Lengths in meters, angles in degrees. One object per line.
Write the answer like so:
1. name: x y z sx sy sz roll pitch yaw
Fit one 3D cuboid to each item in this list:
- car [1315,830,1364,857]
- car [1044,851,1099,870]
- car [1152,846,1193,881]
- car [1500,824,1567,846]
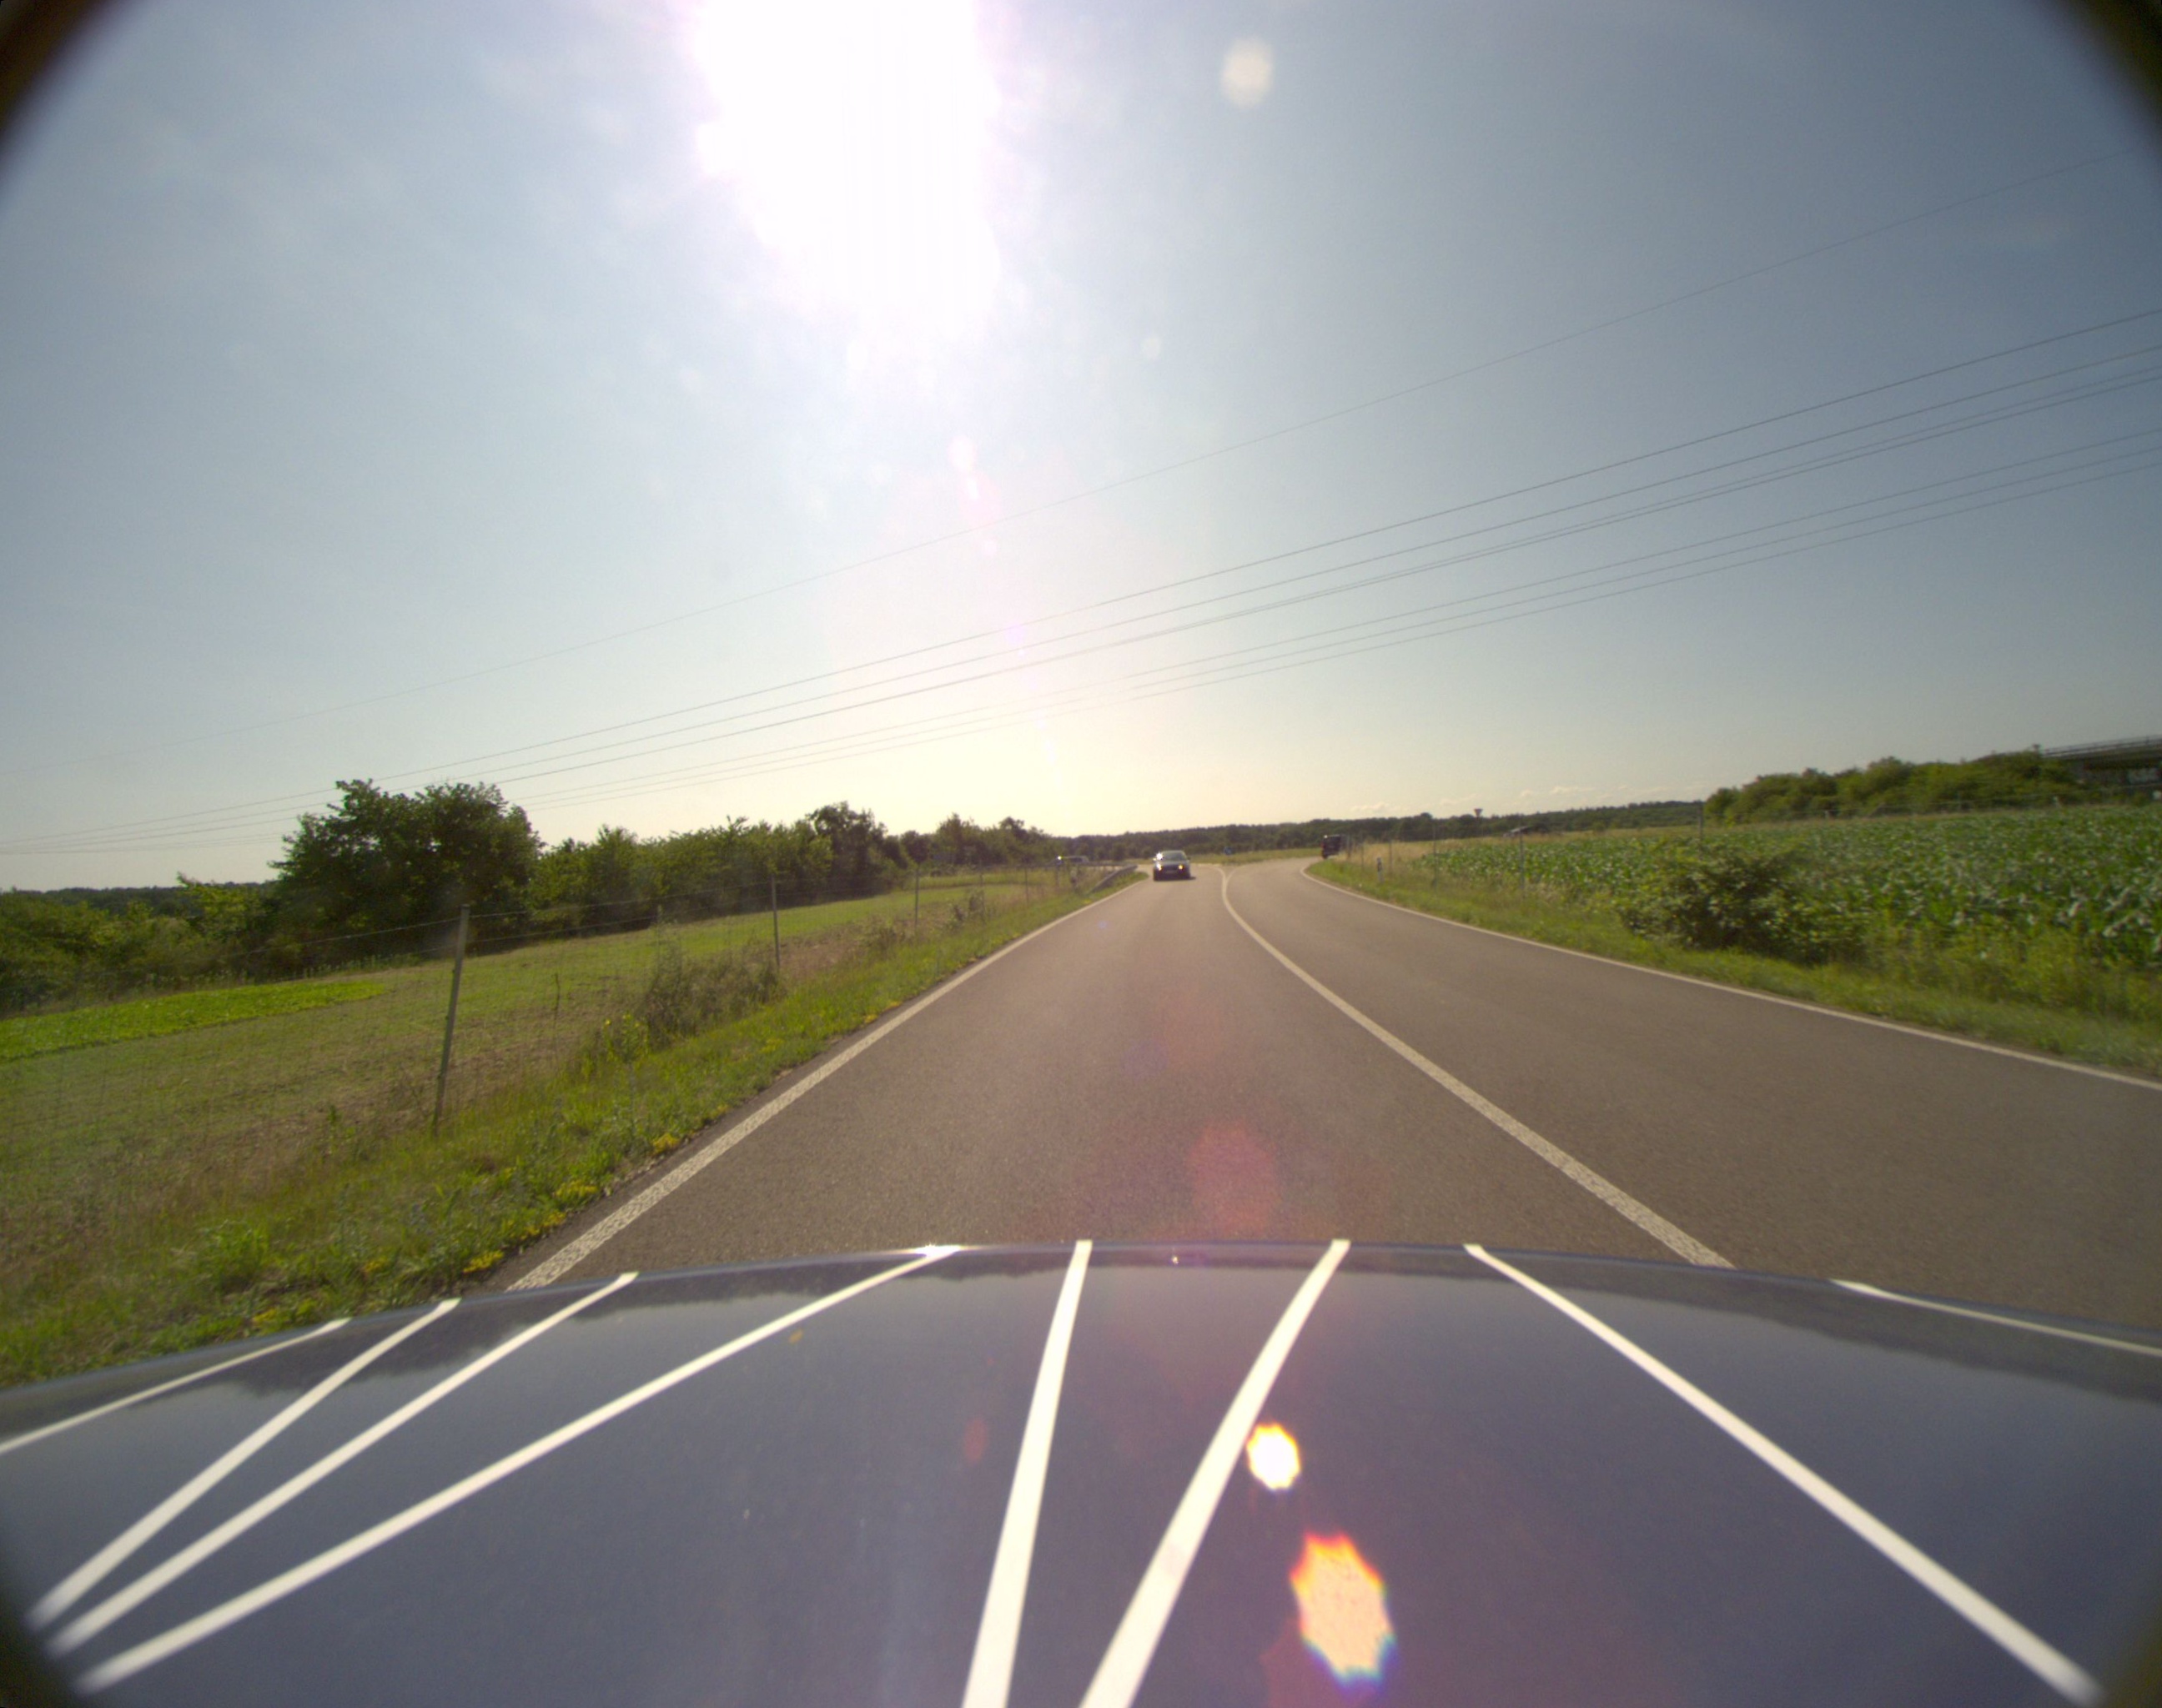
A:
1. car: 18.671 -0.772 54.775 1.984 1.697 4.269 -1 2 38
2. car: -1.011 0.690 80.486 5.343 1.630 2.104 -4 0 18
3. car: 4.556 0.427 38.253 1.885 1.448 4.075 -3 2 6
4. car: 37.306 -1.582 62.669 4.592 1.448 1.779 -4 0 -9
